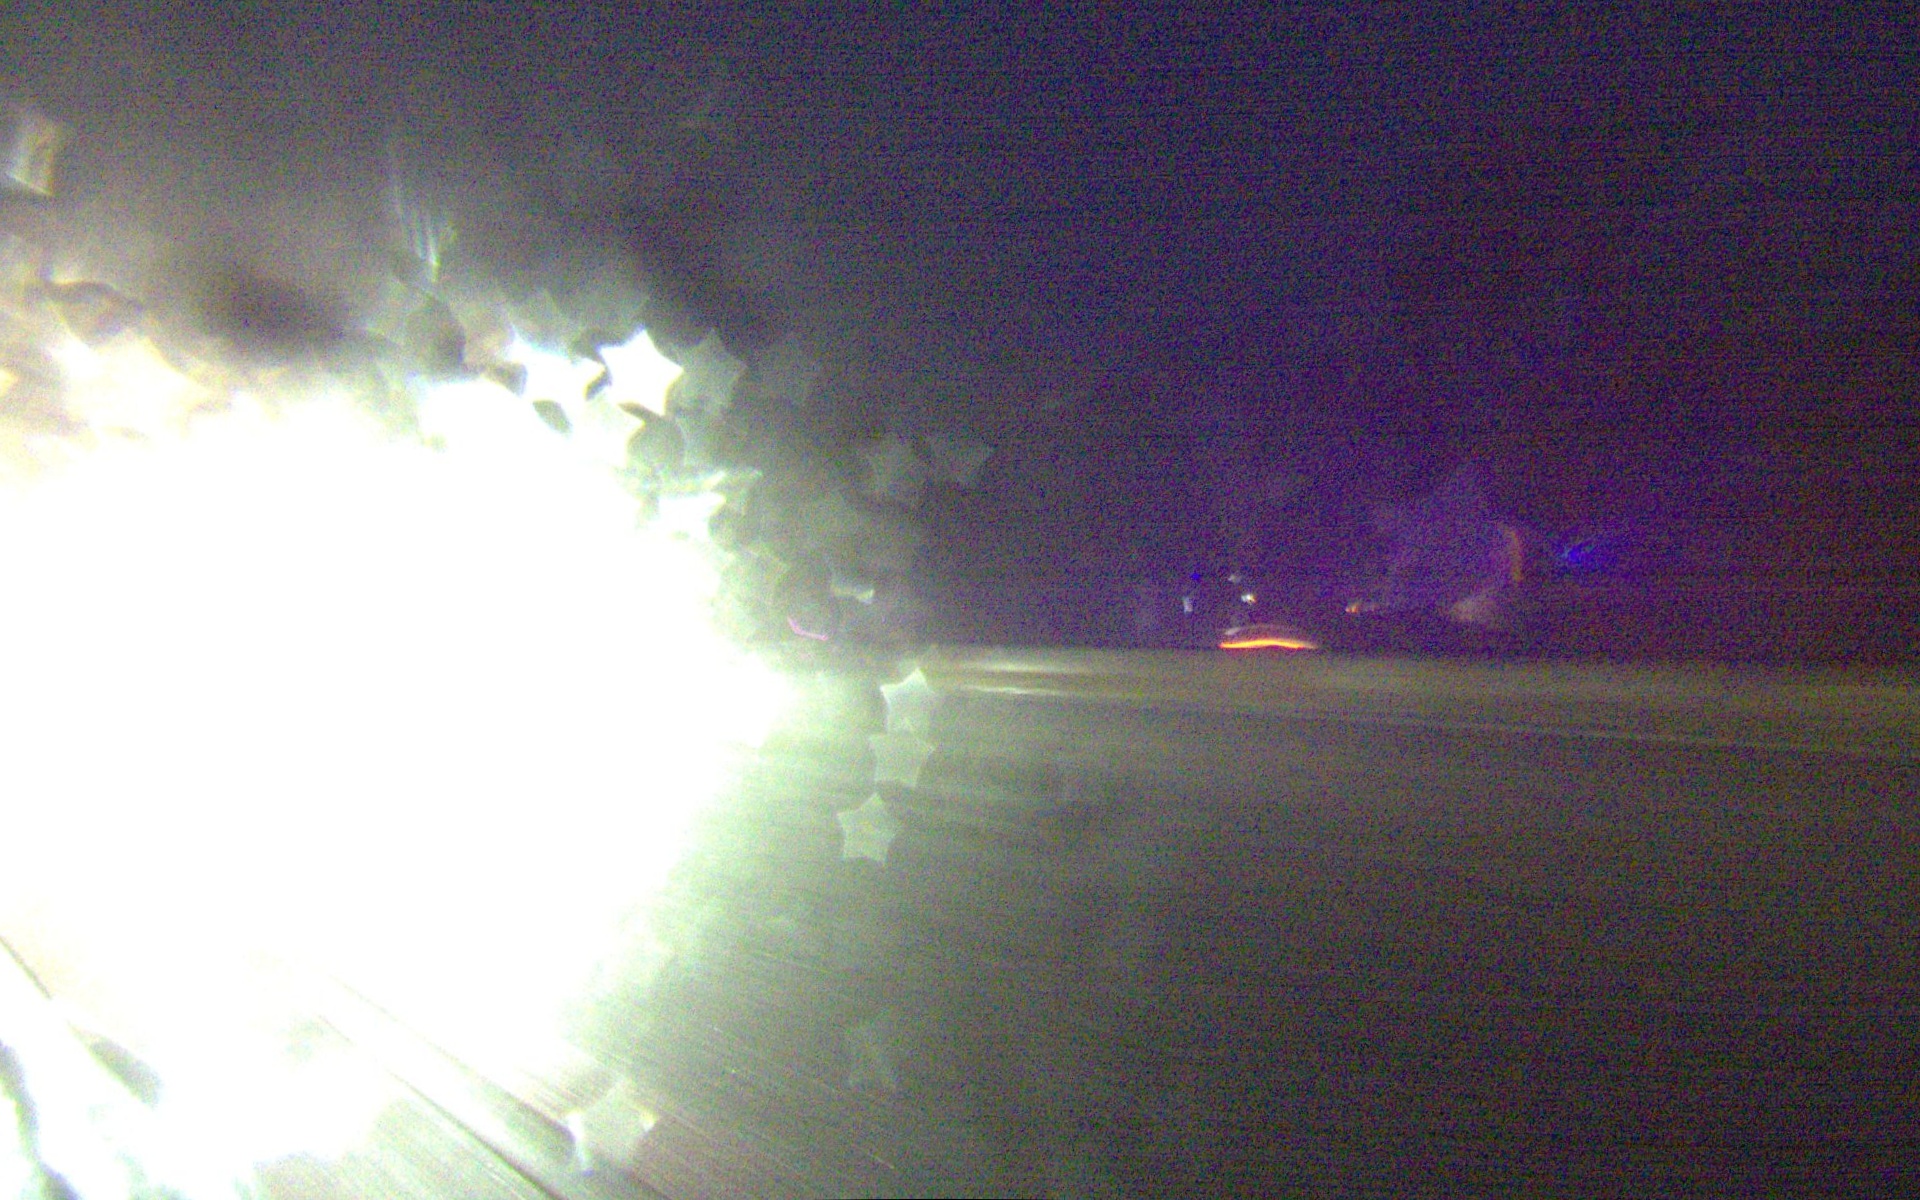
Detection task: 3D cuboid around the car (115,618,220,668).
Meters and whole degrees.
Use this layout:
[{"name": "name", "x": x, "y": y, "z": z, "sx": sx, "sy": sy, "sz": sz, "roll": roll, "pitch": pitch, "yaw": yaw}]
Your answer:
[{"name": "car", "x": -26.759, "y": 1.398, "z": 34.101, "sx": 5.164, "sy": 1.487, "sz": 1.972, "roll": -1, "pitch": 0, "yaw": 42}]

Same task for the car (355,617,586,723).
[{"name": "car", "x": -7.973, "y": 1.022, "z": 16.359, "sx": 3.998, "sy": 1.452, "sz": 1.973, "roll": -1, "pitch": 0, "yaw": 41}]

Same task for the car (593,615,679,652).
[{"name": "car", "x": -16.102, "y": 1.613, "z": 50.243, "sx": 4.557, "sy": 1.734, "sz": 1.862, "roll": -1, "pitch": 0, "yaw": 38}]

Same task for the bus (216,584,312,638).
[{"name": "bus", "x": -63.222, "y": 0.969, "z": 91.667, "sx": 16.537, "sy": 4.482, "sz": 3.335, "roll": -1, "pitch": 0, "yaw": 42}]

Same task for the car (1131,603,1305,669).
[{"name": "car", "x": 7.466, "y": 0.994, "z": 29.490, "sx": 4.557, "sy": 1.734, "sz": 1.862, "roll": -1, "pitch": 0, "yaw": 38}]
